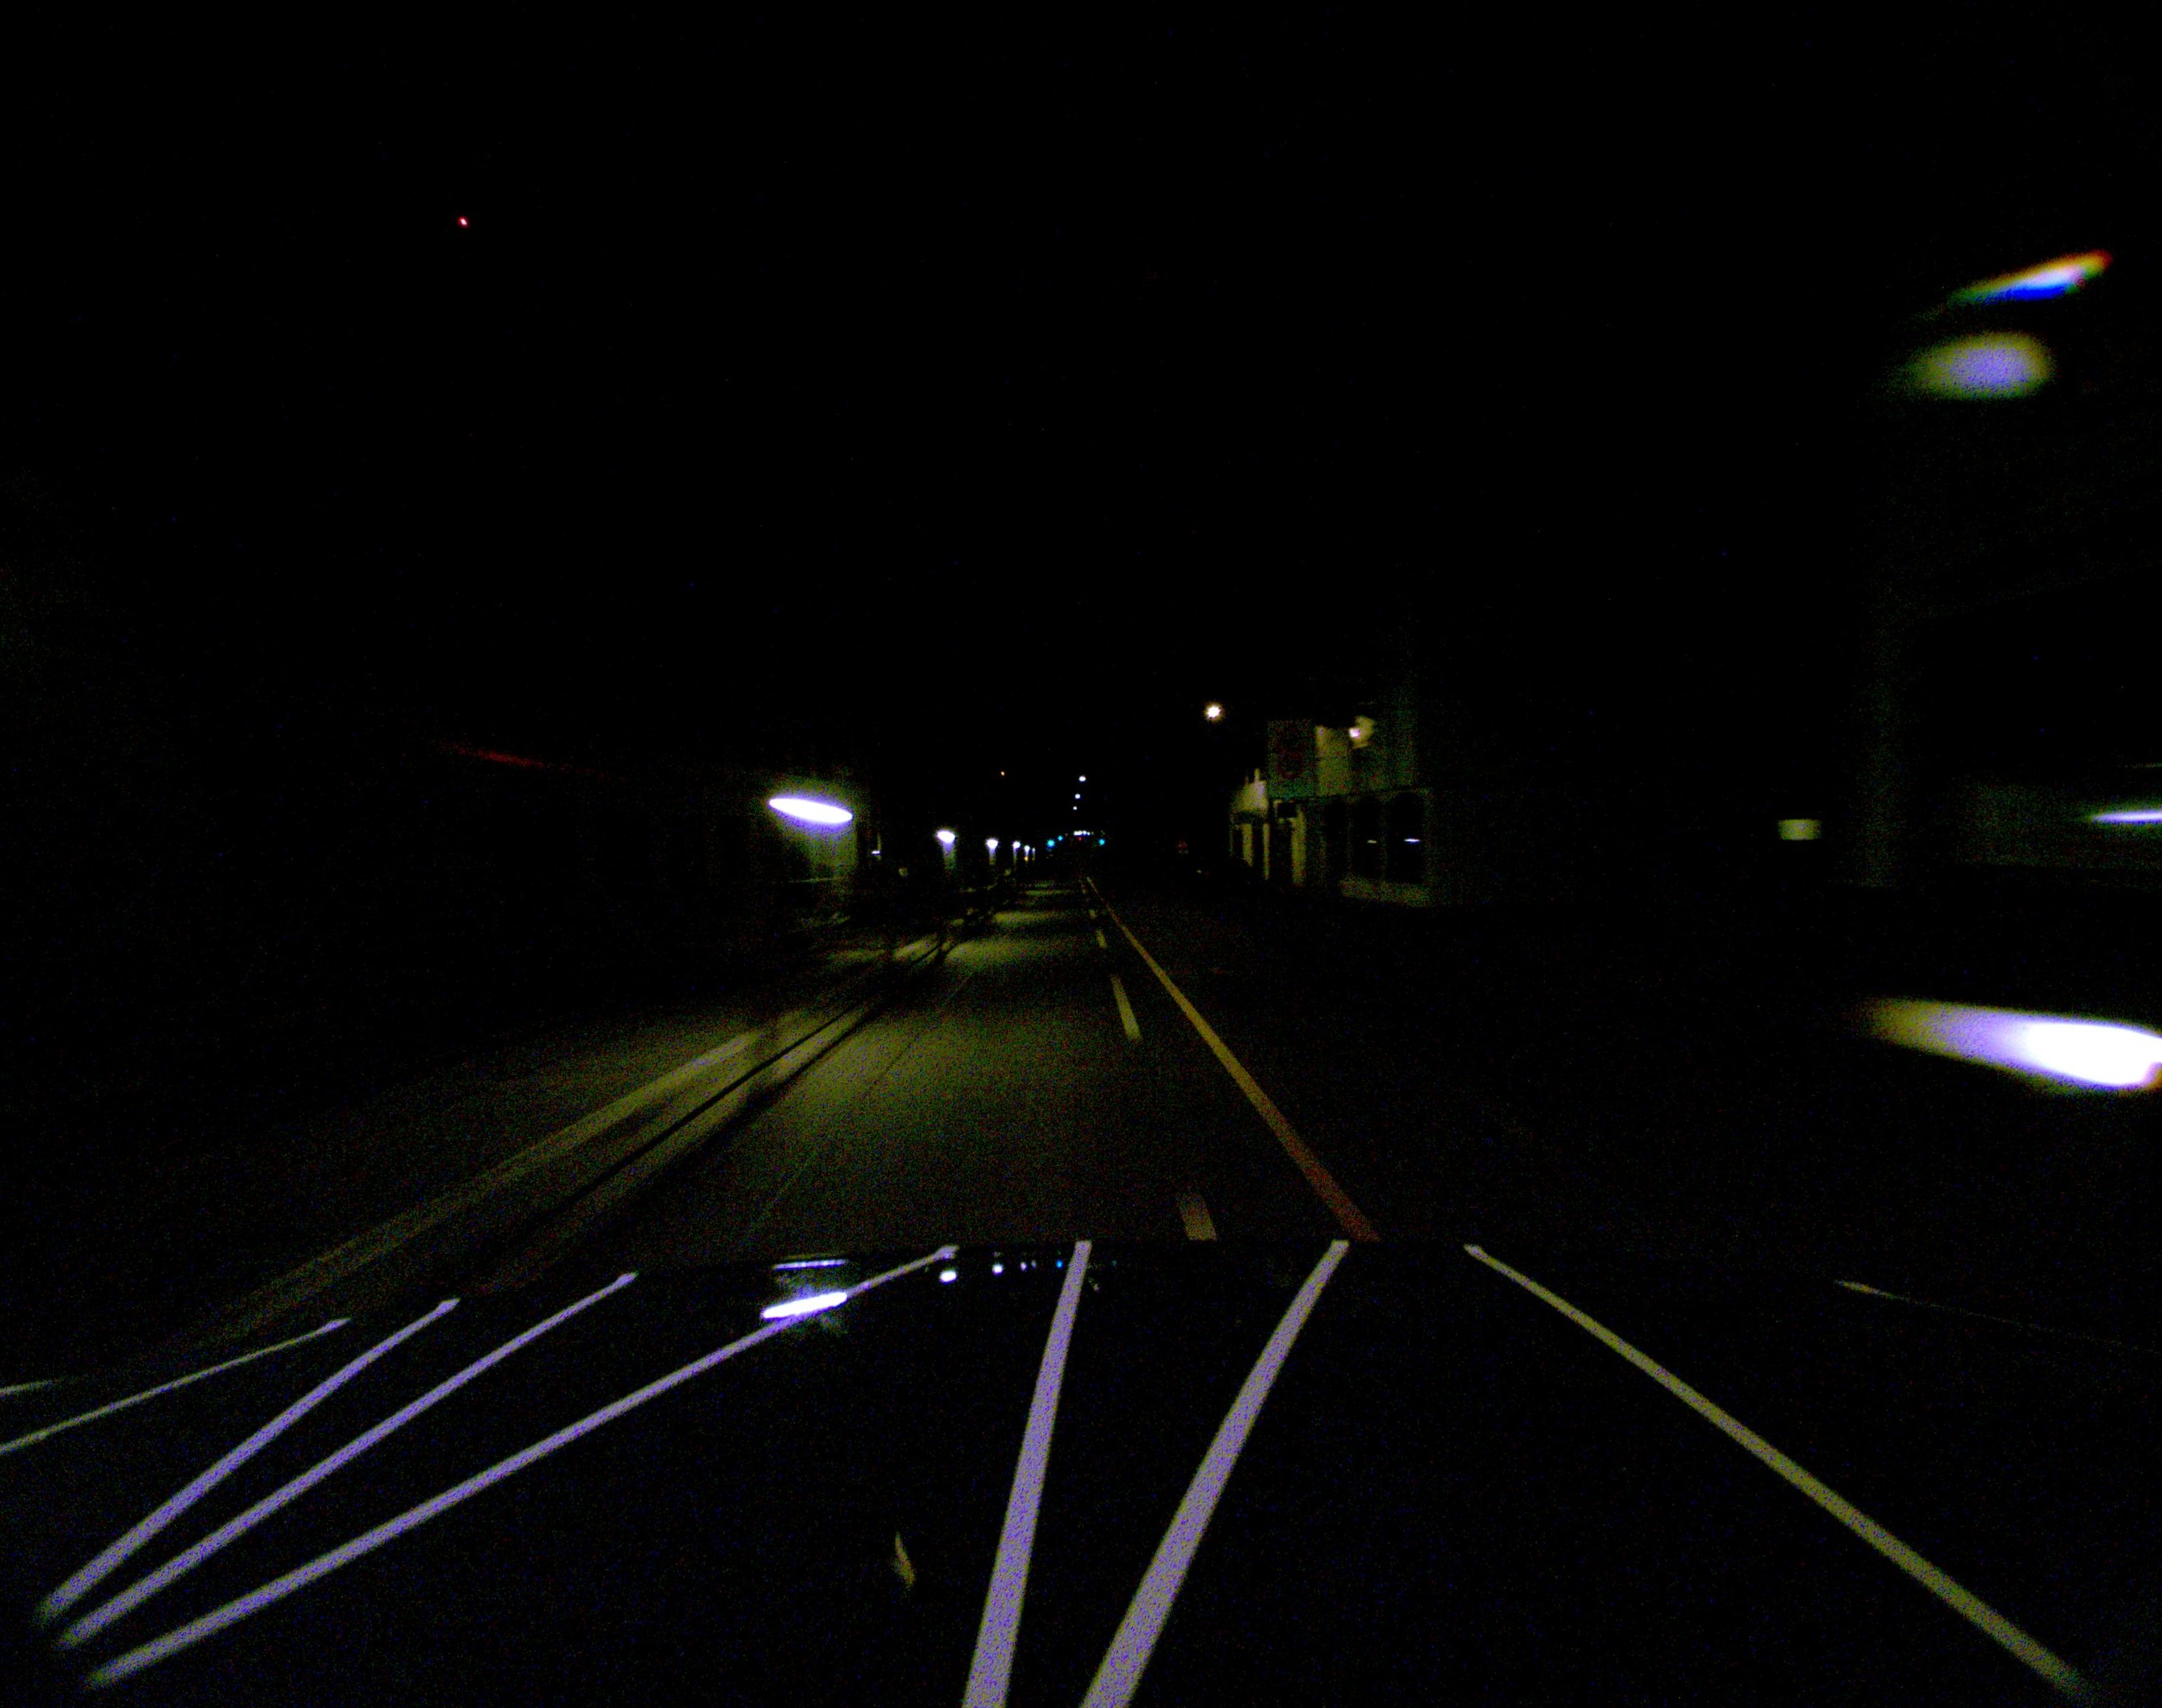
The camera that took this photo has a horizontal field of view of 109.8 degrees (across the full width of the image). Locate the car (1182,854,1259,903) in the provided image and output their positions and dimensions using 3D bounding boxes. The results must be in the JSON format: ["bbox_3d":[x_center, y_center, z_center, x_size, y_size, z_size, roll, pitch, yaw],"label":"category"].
[{"bbox_3d":[4.714,0.771,26.229,1.731,1.477,4.290,-3,0,-1],"label":"car"}]
